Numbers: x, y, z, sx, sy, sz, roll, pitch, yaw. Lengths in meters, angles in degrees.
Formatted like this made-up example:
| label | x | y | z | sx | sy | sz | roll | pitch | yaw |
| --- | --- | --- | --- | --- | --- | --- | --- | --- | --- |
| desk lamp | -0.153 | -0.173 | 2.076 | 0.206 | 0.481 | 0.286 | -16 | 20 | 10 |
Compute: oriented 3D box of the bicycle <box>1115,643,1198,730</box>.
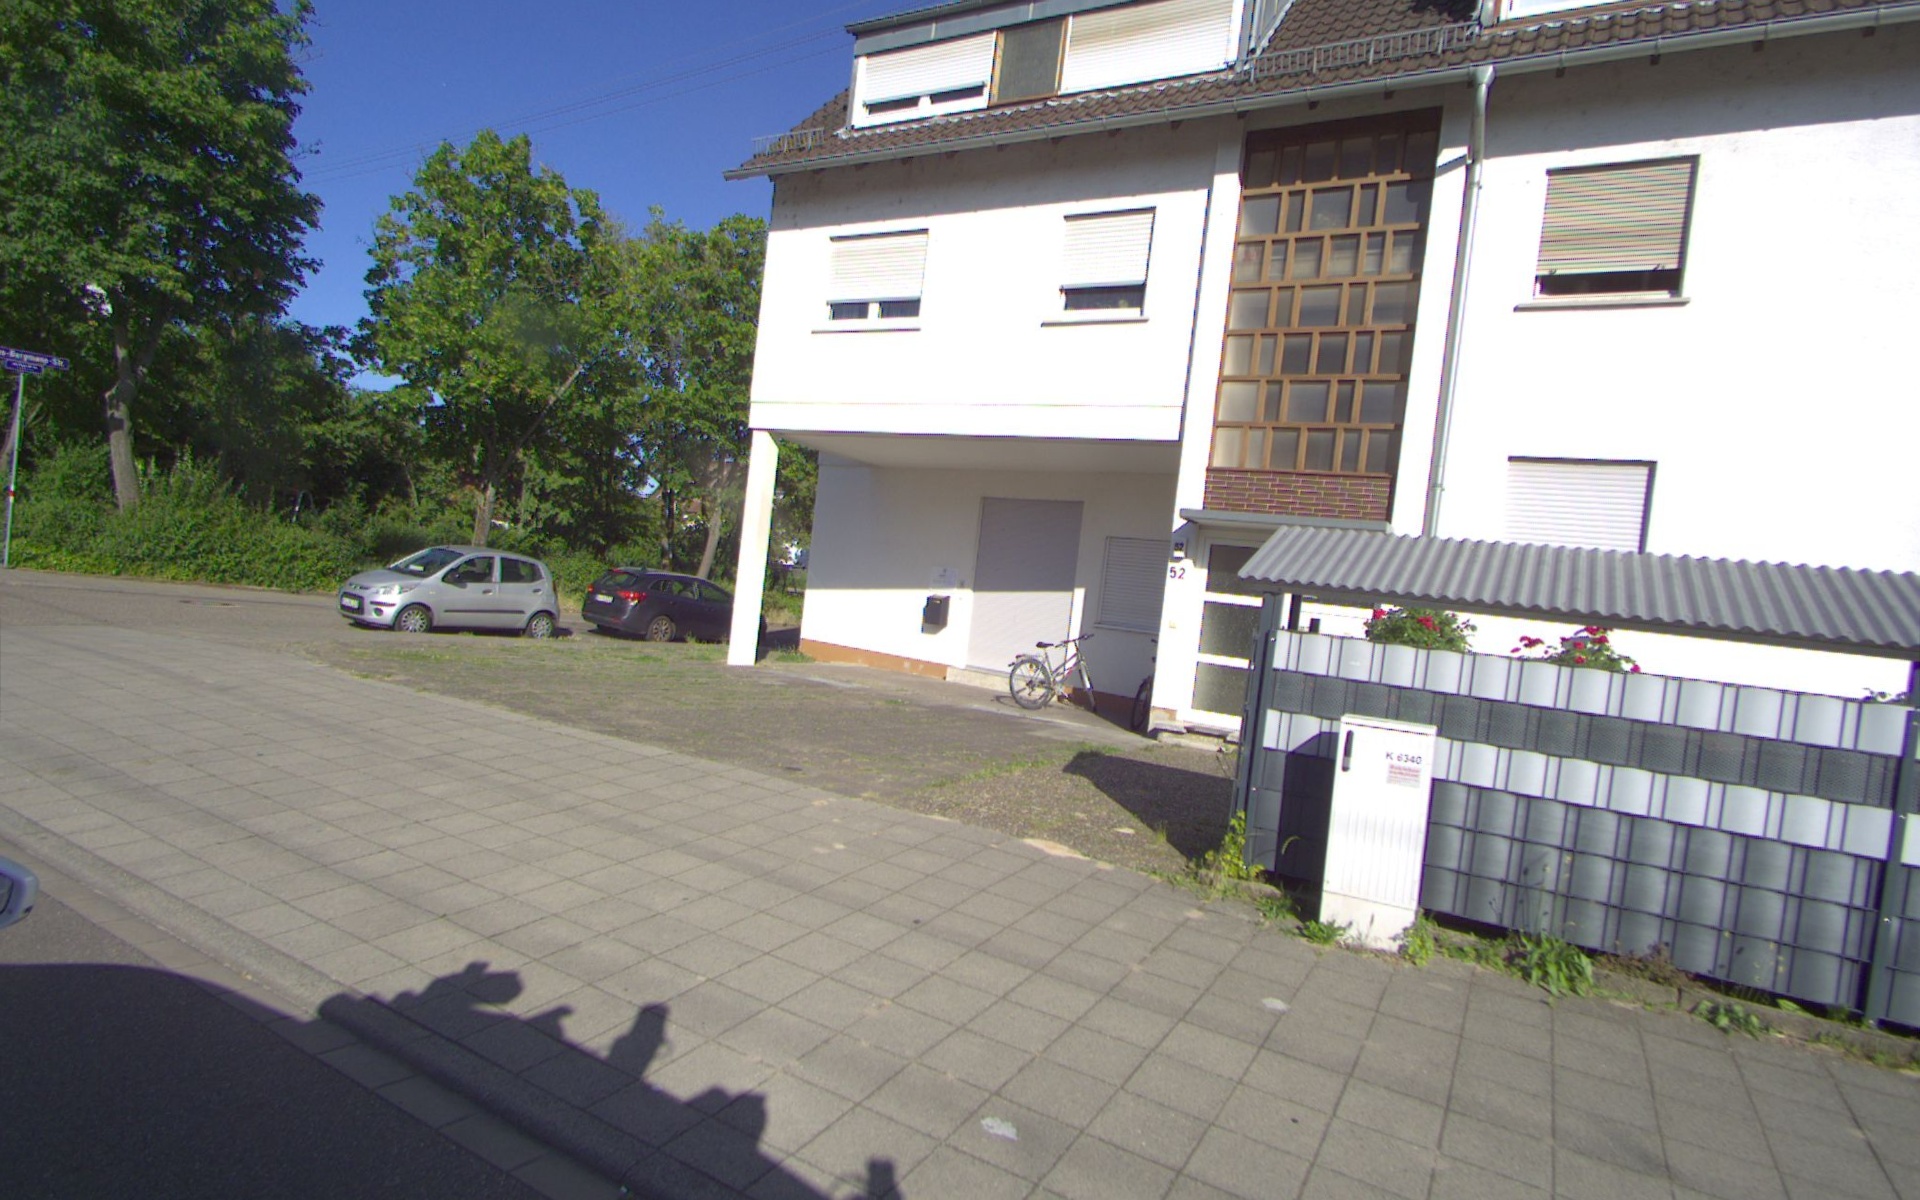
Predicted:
| label | x | y | z | sx | sy | sz | roll | pitch | yaw |
| --- | --- | --- | --- | --- | --- | --- | --- | --- | --- |
| bicycle | 2.531 | 1.109 | 12.826 | 0.326 | 1.014 | 1.710 | 7 | -1 | 33 |

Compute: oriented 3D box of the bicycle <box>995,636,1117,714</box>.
| label | x | y | z | sx | sy | sz | roll | pitch | yaw |
| --- | --- | --- | --- | --- | --- | --- | --- | --- | --- |
| bicycle | 1.296 | 1.010 | 13.499 | 1.525 | 0.882 | 0.488 | 7 | -1 | -28 |

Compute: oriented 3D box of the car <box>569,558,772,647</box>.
| label | x | y | z | sx | sy | sz | roll | pitch | yaw |
| --- | --- | --- | --- | --- | --- | --- | --- | --- | --- |
| car | -6.135 | 0.109 | 21.773 | 1.715 | 1.516 | 4.006 | 7 | 0 | 32 |

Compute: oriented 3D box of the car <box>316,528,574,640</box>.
| label | x | y | z | sx | sy | sz | roll | pitch | yaw |
| --- | --- | --- | --- | --- | --- | --- | --- | --- | --- |
| car | -8.823 | -0.212 | 17.511 | 1.620 | 1.549 | 3.598 | 6 | 0 | 32 |
